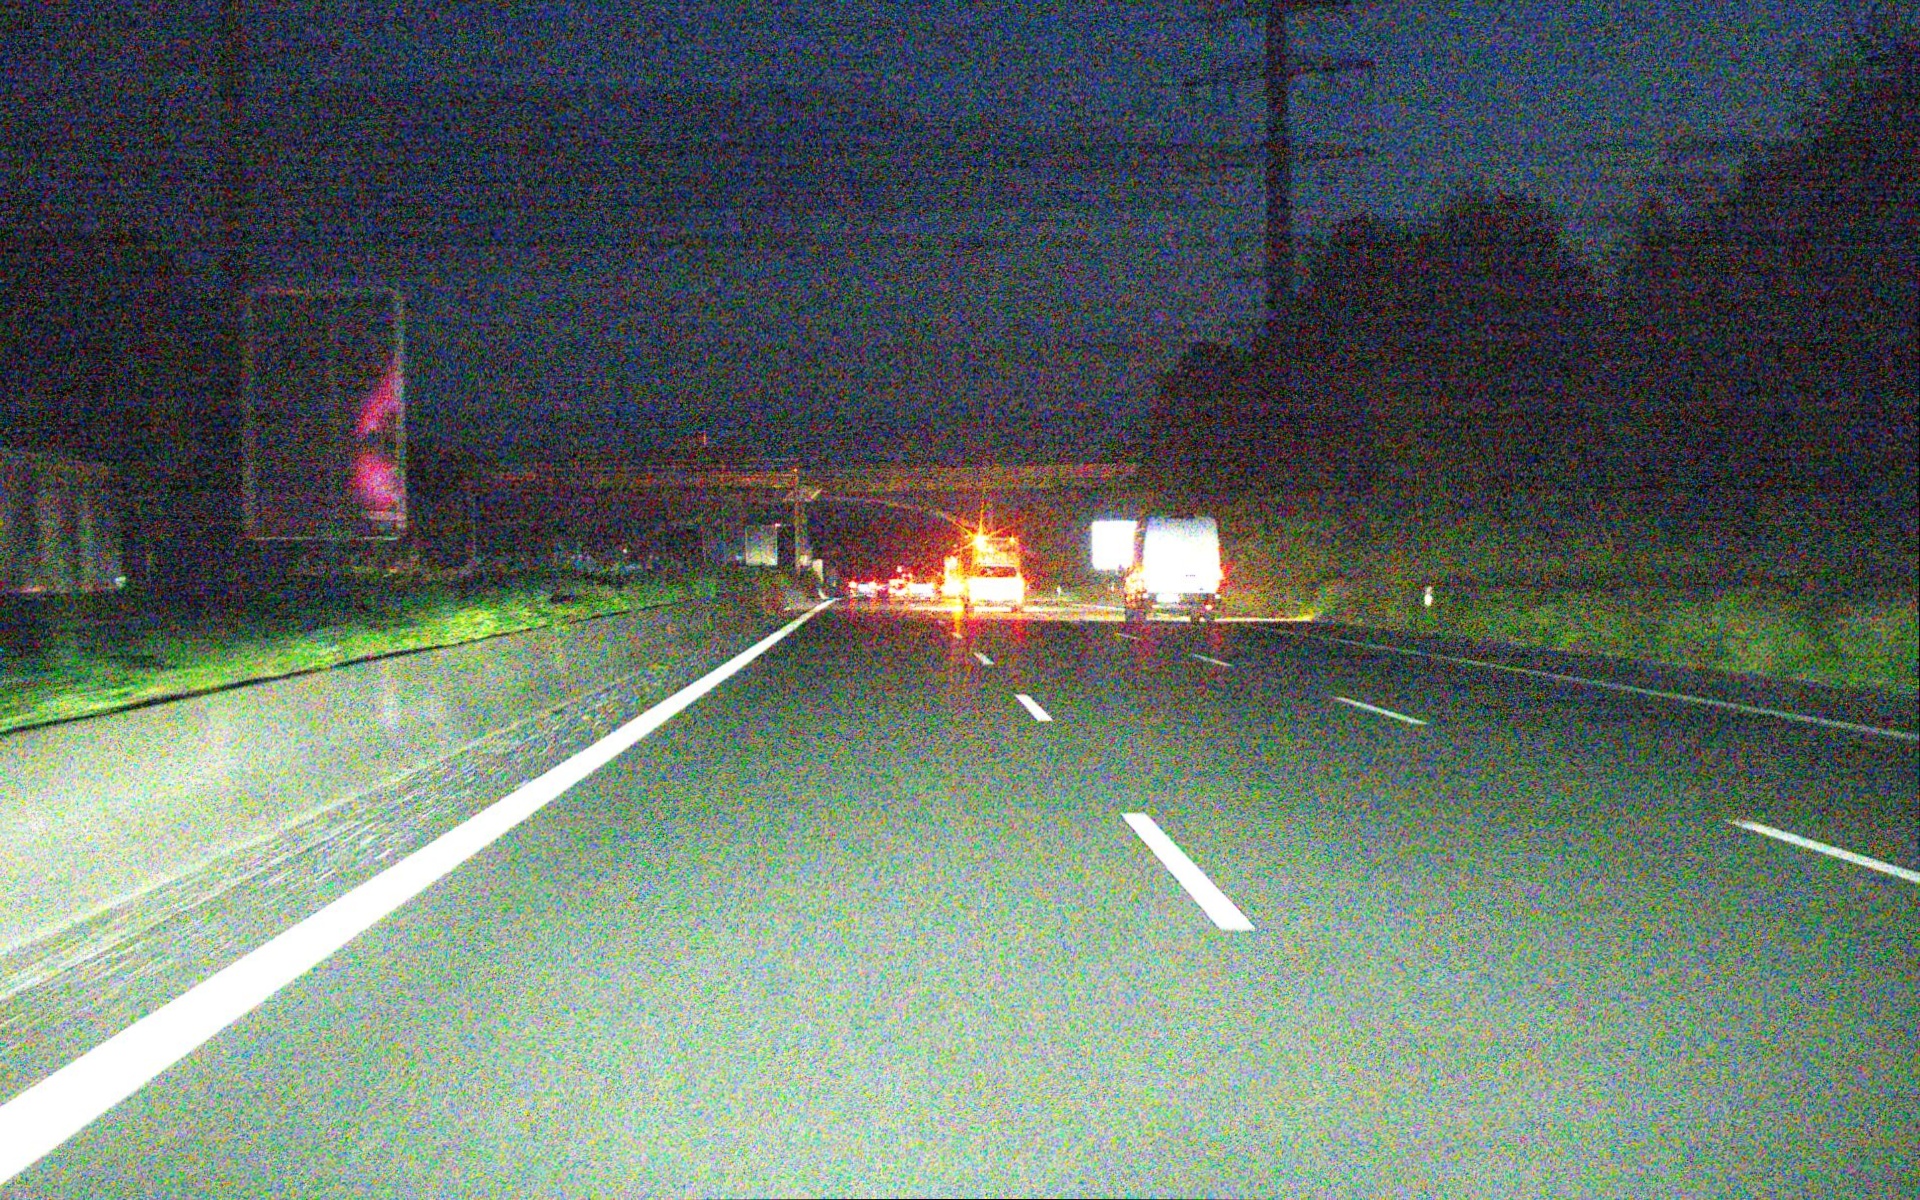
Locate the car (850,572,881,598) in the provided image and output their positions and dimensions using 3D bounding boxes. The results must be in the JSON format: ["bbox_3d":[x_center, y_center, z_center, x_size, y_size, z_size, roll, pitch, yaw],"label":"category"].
[{"bbox_3d":[-5.868,-0.933,213.263,1.821,1.461,4.248,1,1,-1],"label":"car"}]

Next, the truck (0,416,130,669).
[{"bbox_3d":[-17.655,-0.971,59.938,3.113,4.188,16.982,-3,1,-3],"label":"truck"}]

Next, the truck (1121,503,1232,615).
[{"bbox_3d":[5.530,-0.995,88.759,2.076,2.682,7.308,1,-1,-2],"label":"truck"}]

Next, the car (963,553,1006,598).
[{"bbox_3d":[0.784,-0.814,112.030,1.346,1.382,3.502,1,1,-1],"label":"car"}]

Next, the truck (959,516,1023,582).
[{"bbox_3d":[1.571,-2.698,179.322,3.044,3.313,10.143,1,1,-1],"label":"truck"}]

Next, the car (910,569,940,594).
[{"bbox_3d":[-2.218,-1.199,217.870,1.821,1.461,4.248,1,1,-1],"label":"car"}]
